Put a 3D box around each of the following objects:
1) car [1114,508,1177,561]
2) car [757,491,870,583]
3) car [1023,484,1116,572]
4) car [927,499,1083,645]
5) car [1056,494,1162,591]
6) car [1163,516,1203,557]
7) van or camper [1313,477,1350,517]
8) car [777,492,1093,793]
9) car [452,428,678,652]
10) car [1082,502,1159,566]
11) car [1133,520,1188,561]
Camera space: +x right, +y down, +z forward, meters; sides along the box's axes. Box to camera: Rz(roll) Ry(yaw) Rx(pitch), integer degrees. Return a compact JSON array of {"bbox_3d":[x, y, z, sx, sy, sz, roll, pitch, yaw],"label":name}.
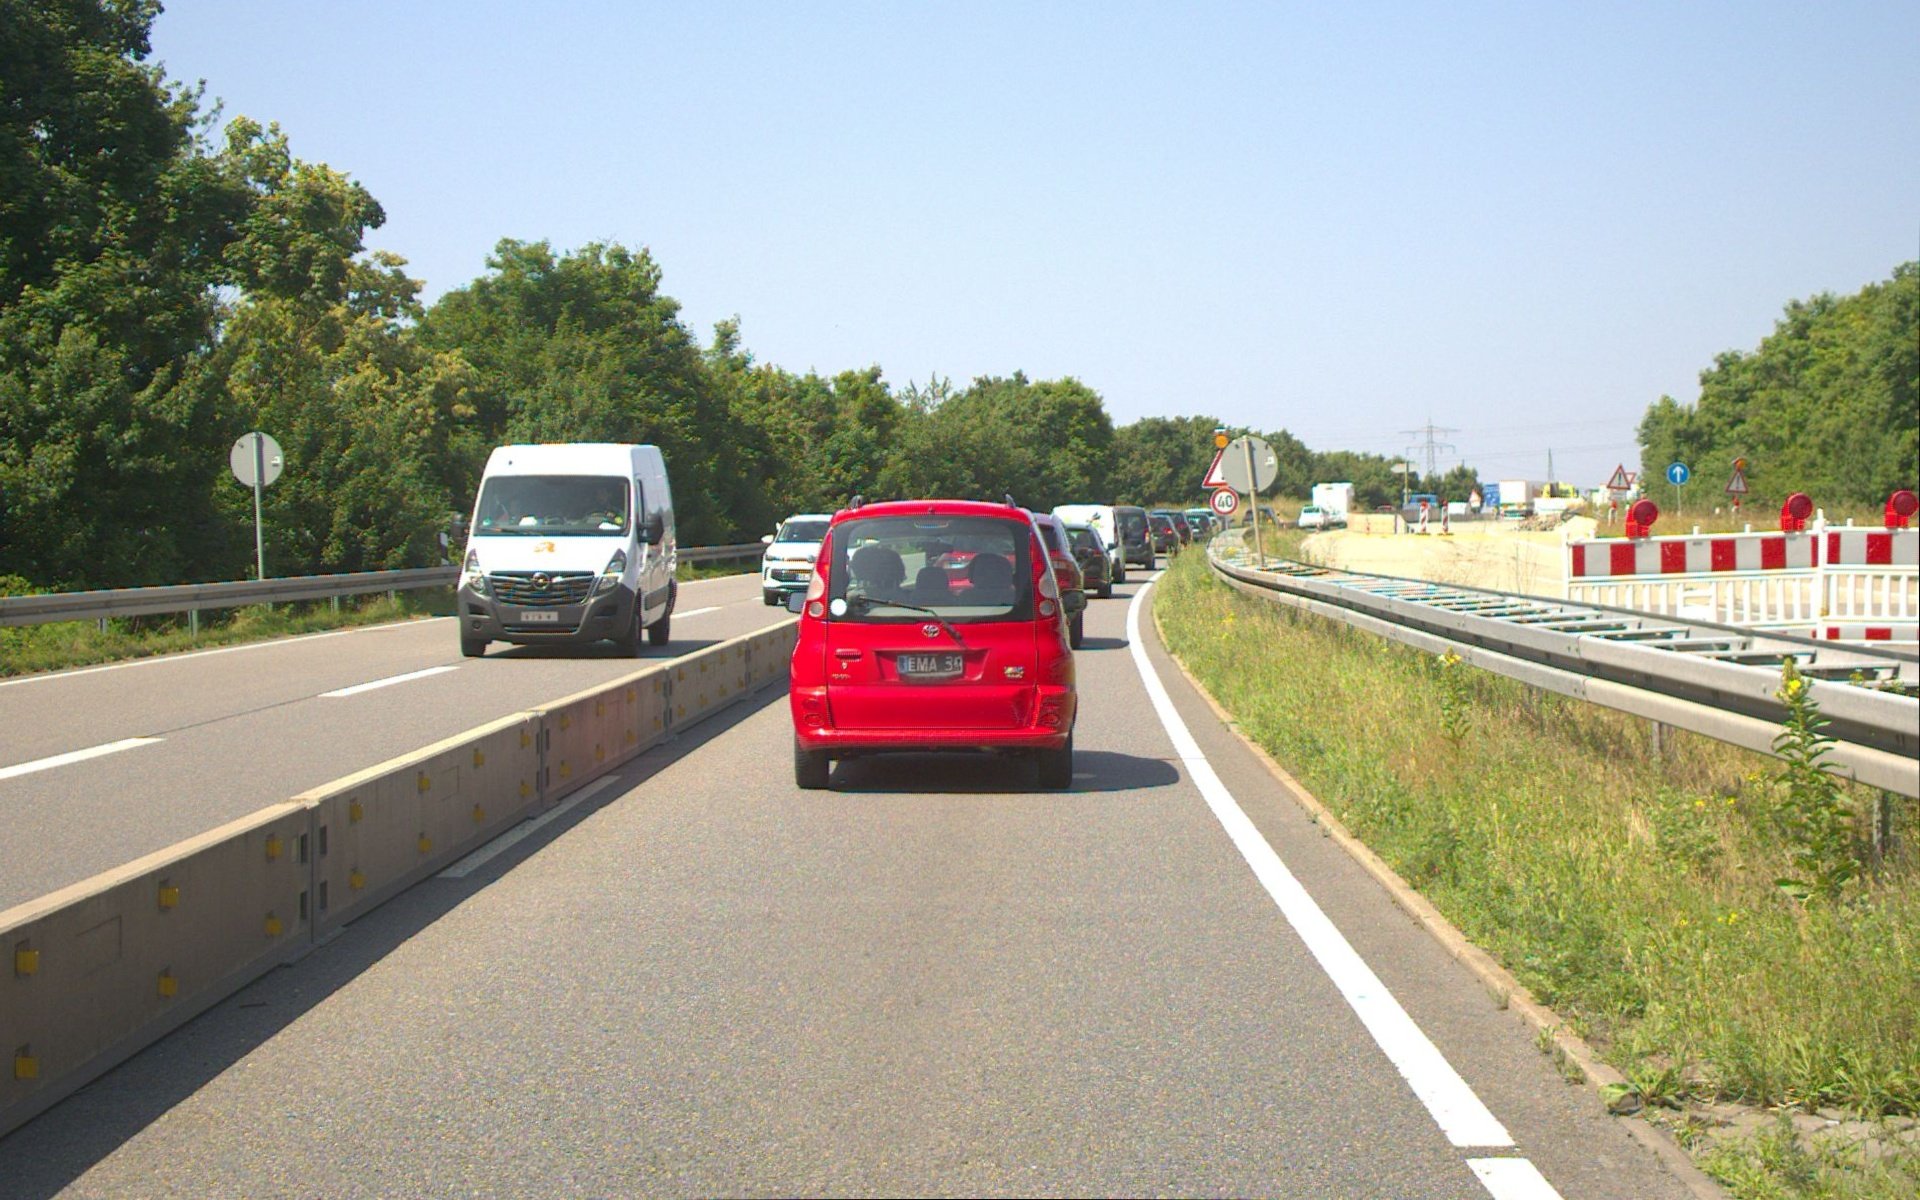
[{"bbox_3d":[6.329,-2.249,117.651,1.993,1.777,4.000,-1,1,1],"label":"car"},{"bbox_3d":[-2.644,-1.153,62.780,1.848,1.595,4.322,-1,1,0],"label":"car"},{"bbox_3d":[2.567,-1.701,81.506,1.993,1.997,4.000,-1,1,-1],"label":"car"},{"bbox_3d":[0.587,-0.381,42.952,1.830,1.716,4.000,1,1,1],"label":"car"},{"bbox_3d":[2.919,-1.139,67.522,1.993,1.831,4.000,-1,1,2],"label":"car"},{"bbox_3d":[9.415,-2.691,145.147,1.502,1.730,3.169,1,1,7],"label":"car"},{"bbox_3d":[25.233,-6.990,233.716,2.328,2.697,4.593,-1,1,4],"label":"van or camper"},{"bbox_3d":[-0.089,0.200,21.226,1.752,1.667,4.000,1,1,2],"label":"car"},{"bbox_3d":[-4.608,-0.729,40.934,2.061,2.477,5.561,0,1,0],"label":"car"},{"bbox_3d":[4.506,-1.854,97.031,1.993,1.744,4.000,-1,1,1],"label":"car"},{"bbox_3d":[7.821,-2.324,133.859,1.994,1.579,4.000,1,1,5],"label":"car"}]
